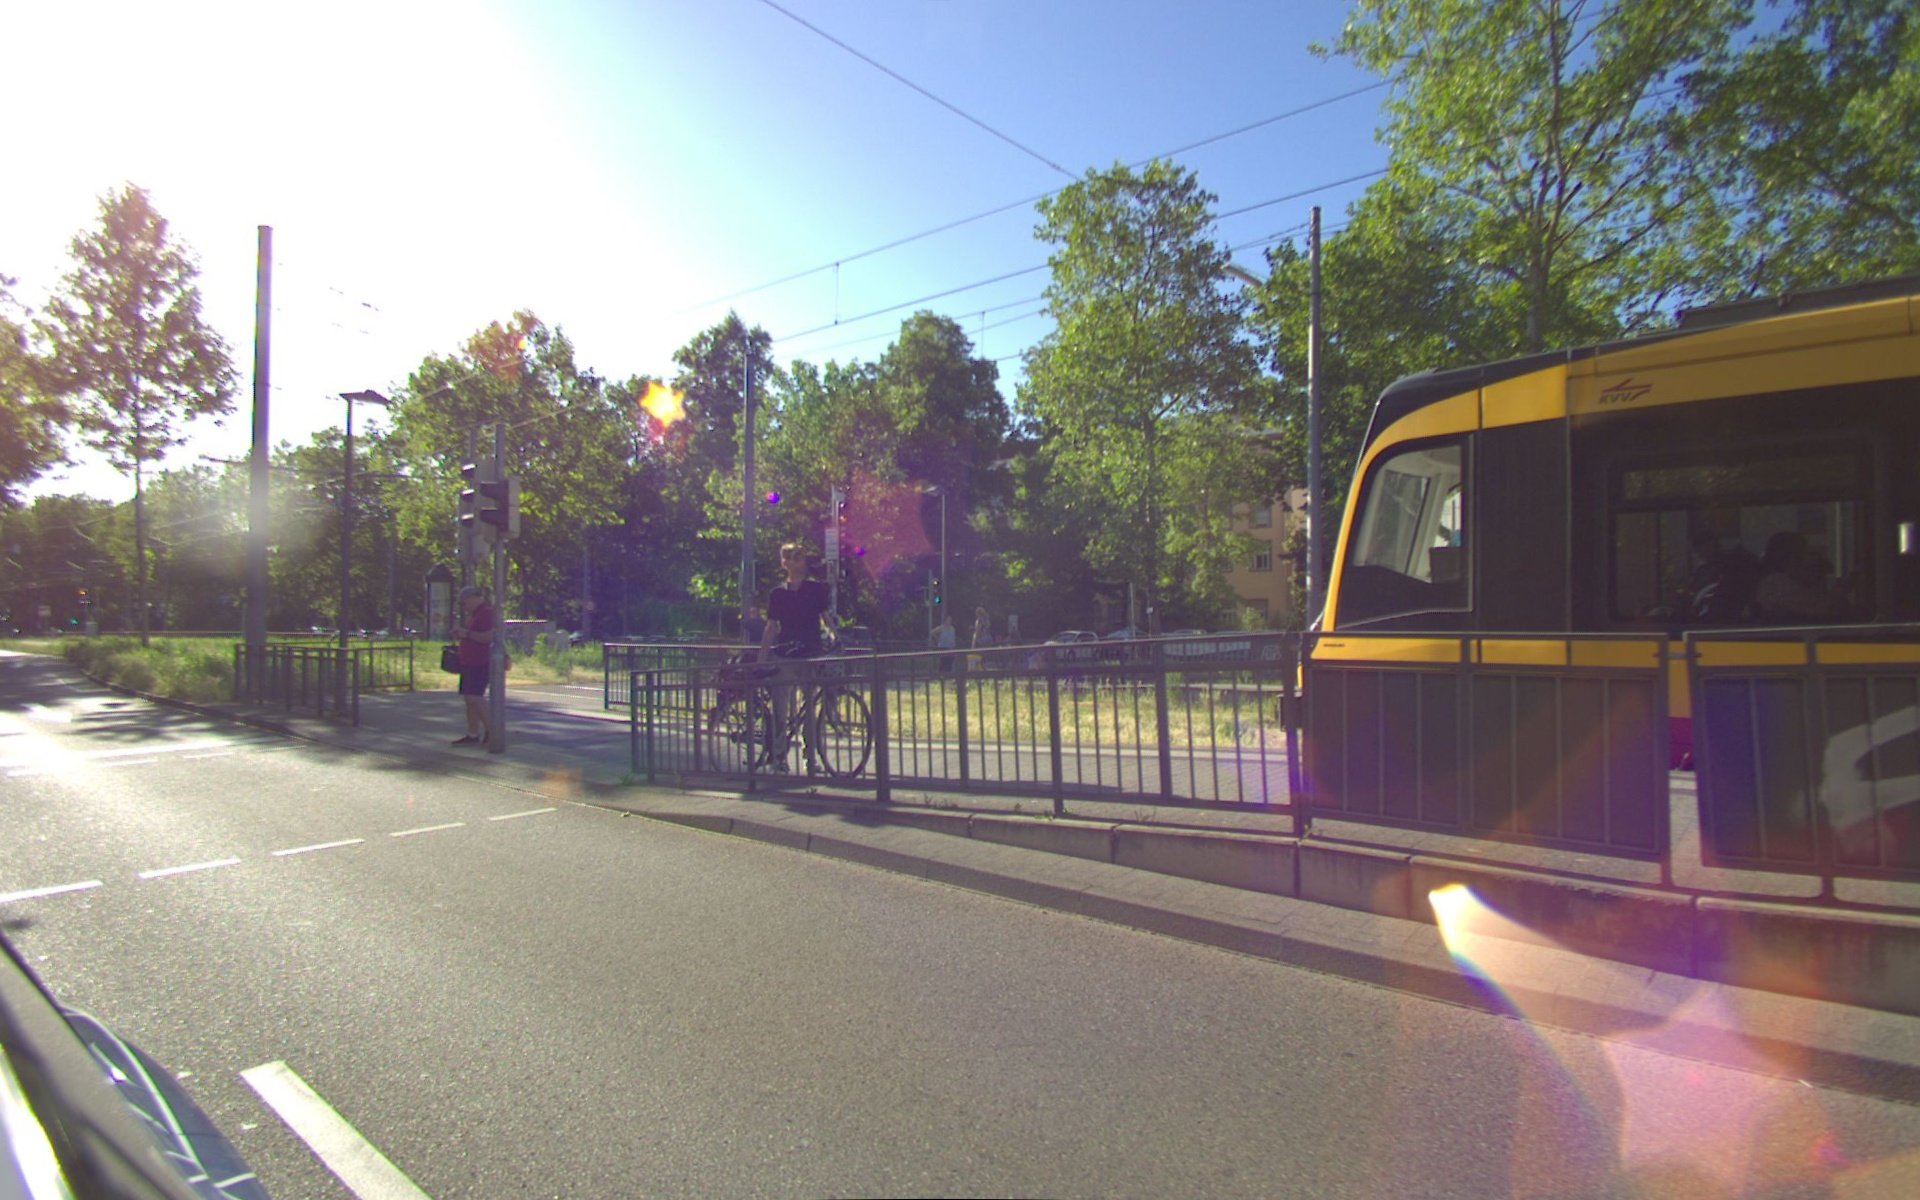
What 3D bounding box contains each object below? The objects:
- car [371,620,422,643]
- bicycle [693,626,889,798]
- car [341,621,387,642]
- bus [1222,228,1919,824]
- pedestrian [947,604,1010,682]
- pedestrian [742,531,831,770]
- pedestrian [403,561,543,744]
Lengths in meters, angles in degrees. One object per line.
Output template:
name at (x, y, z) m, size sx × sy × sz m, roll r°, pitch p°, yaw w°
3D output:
car at (-44.258, 2.478, 79.463) m, size 4.509 × 1.696 × 1.974 m, roll -2°, pitch -1°, yaw 39°
bicycle at (-1.365, 0.823, 7.930) m, size 1.825 × 1.223 × 0.325 m, roll -1°, pitch -2°, yaw 36°
car at (-48.710, 2.597, 82.690) m, size 3.995 × 1.634 × 1.974 m, roll -2°, pitch -1°, yaw 39°
bus at (8.163, -0.465, 5.497) m, size 13.212 × 3.470 × 2.839 m, roll -2°, pitch -2°, yaw 42°
pedestrian at (0.418, 0.920, 22.209) m, size 0.890 × 1.656 × 1.167 m, roll 0°, pitch -1°, yaw 34°
pedestrian at (-1.451, 0.408, 8.460) m, size 0.583 × 1.917 × 0.447 m, roll -1°, pitch -2°, yaw 34°
pedestrian at (-5.504, 0.567, 11.443) m, size 1.126 × 1.930 × 1.061 m, roll -2°, pitch -2°, yaw 39°
